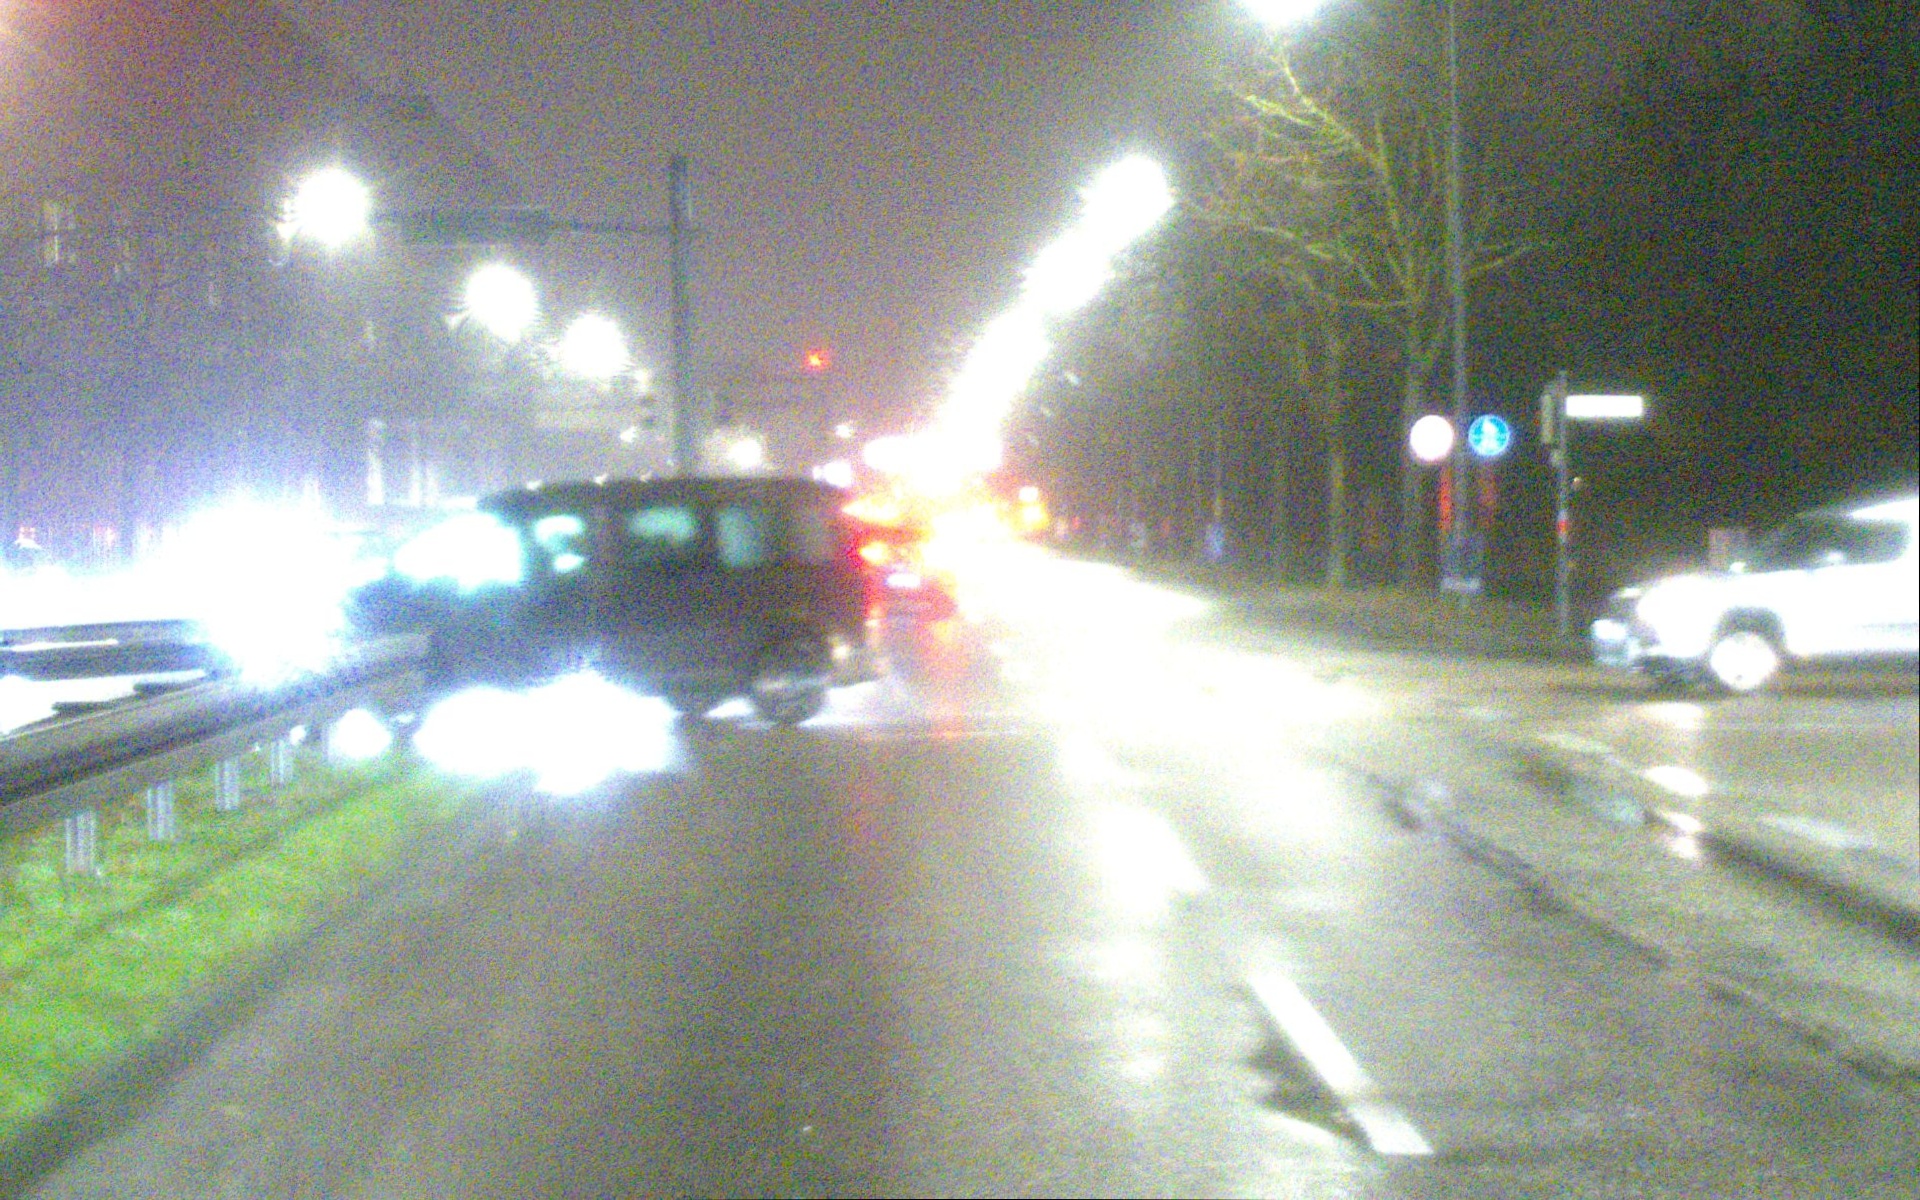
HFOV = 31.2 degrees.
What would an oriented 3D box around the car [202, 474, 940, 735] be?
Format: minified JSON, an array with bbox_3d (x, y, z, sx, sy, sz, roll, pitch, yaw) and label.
[{"bbox_3d":[-2.785,0.036,24.876,4.902,1.735,1.971,1,1,-28],"label":"car"}]

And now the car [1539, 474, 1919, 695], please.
[{"bbox_3d":[7.209,-0.120,28.581,4.383,1.735,1.910,1,0,-3],"label":"car"}]

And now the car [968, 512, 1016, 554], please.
[{"bbox_3d":[1.395,-2.914,150.432,1.993,1.753,4.000,1,1,-1],"label":"car"}]

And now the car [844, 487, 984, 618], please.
[{"bbox_3d":[-0.793,-0.765,55.716,1.993,2.007,4.633,1,1,-4],"label":"car"}]
